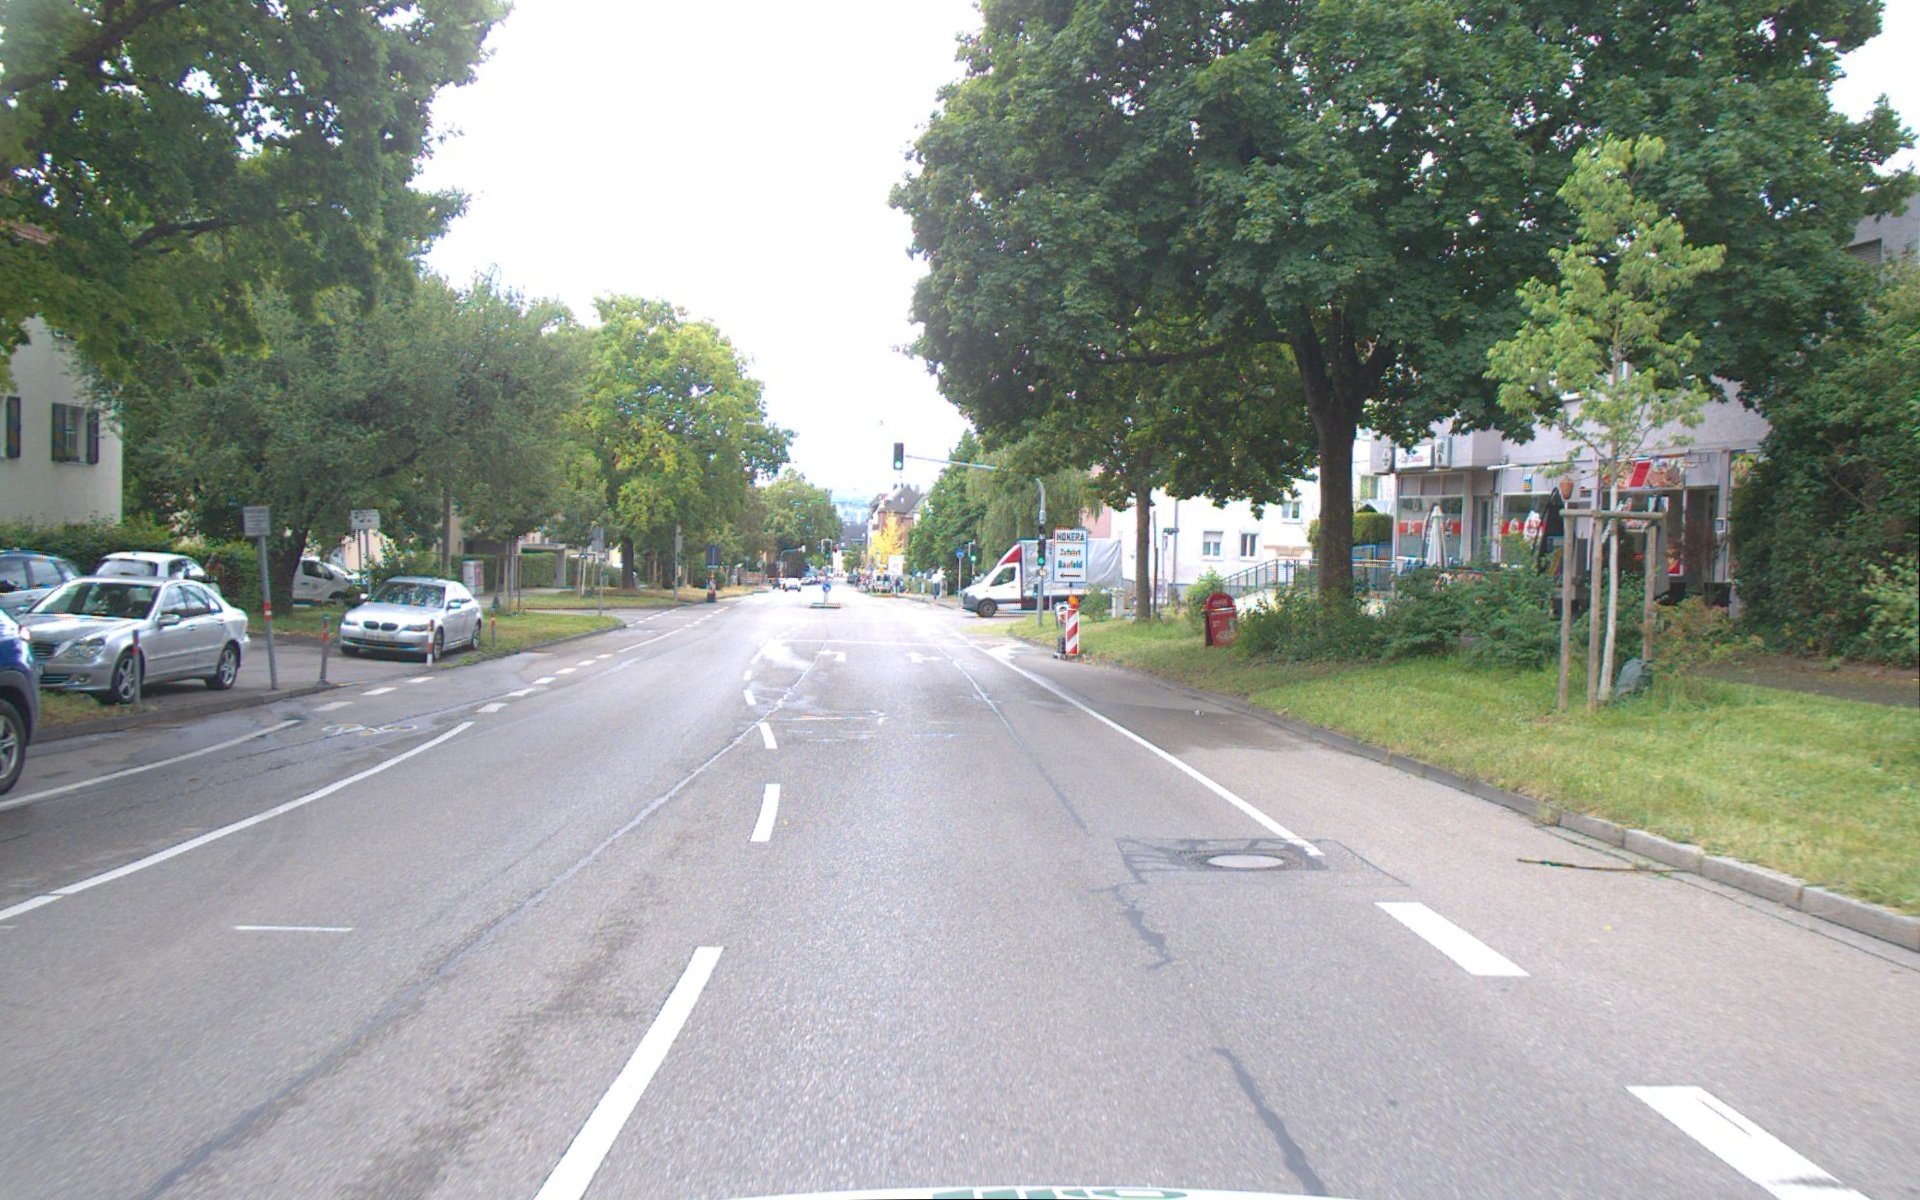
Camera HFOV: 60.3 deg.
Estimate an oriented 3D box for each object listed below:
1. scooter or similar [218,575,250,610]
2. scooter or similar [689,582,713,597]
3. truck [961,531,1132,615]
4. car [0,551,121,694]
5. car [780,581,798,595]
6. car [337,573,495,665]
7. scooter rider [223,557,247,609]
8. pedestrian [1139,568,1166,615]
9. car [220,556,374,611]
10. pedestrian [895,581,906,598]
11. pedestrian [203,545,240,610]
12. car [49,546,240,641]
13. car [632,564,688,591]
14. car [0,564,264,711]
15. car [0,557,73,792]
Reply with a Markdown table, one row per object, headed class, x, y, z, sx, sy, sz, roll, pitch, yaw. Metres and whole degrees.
| class | x | y | z | sx | sy | sz | roll | pitch | yaw |
| --- | --- | --- | --- | --- | --- | --- | --- | --- | --- |
| scooter or similar | -18.308 | -0.191 | 41.726 | 0.319 | 0.858 | 1.201 | 2 | 0 | -3 |
| scooter or similar | -19.419 | -0.772 | 123.961 | 1.663 | 1.101 | 0.744 | 2 | 0 | -12 |
| truck | 3.680 | -1.147 | 71.495 | 7.085 | 3.364 | 2.538 | 1 | 0 | -4 |
| car | -12.345 | 0.228 | 20.557 | 1.726 | 1.661 | 4.000 | 4 | 0 | -1 |
| car | -19.214 | -1.389 | 186.126 | 1.955 | 1.531 | 3.996 | 2 | 0 | -5 |
| car | -10.801 | 0.341 | 33.208 | 1.726 | 1.661 | 4.750 | 2 | 0 | -2 |
| scooter rider | -18.310 | -0.422 | 41.790 | 0.344 | 1.298 | 0.559 | 2 | 0 | -3 |
| pedestrian | 7.843 | -0.338 | 67.316 | 0.736 | 1.887 | 0.950 | -2 | 1 | -18 |
| car | -24.718 | -0.627 | 61.783 | 4.896 | 1.845 | 1.998 | 2 | 0 | -6 |
| pedestrian | -6.695 | -1.203 | 186.528 | 1.176 | 1.841 | 1.300 | 2 | 0 | -3 |
| pedestrian | -19.158 | -0.585 | 42.921 | 0.617 | 1.641 | 0.829 | 2 | 0 | -6 |
| car | -15.696 | -0.137 | 32.093 | 1.726 | 1.661 | 4.285 | 2 | 0 | -3 |
| car | -19.585 | -1.466 | 107.947 | 3.382 | 1.624 | 1.998 | 2 | 0 | -6 |
| car | -10.266 | 0.385 | 20.130 | 1.725 | 1.562 | 4.391 | 2 | 0 | -1 |
| car | -7.545 | 0.542 | 10.312 | 1.681 | 1.641 | 4.534 | 2 | 1 | -2 |
